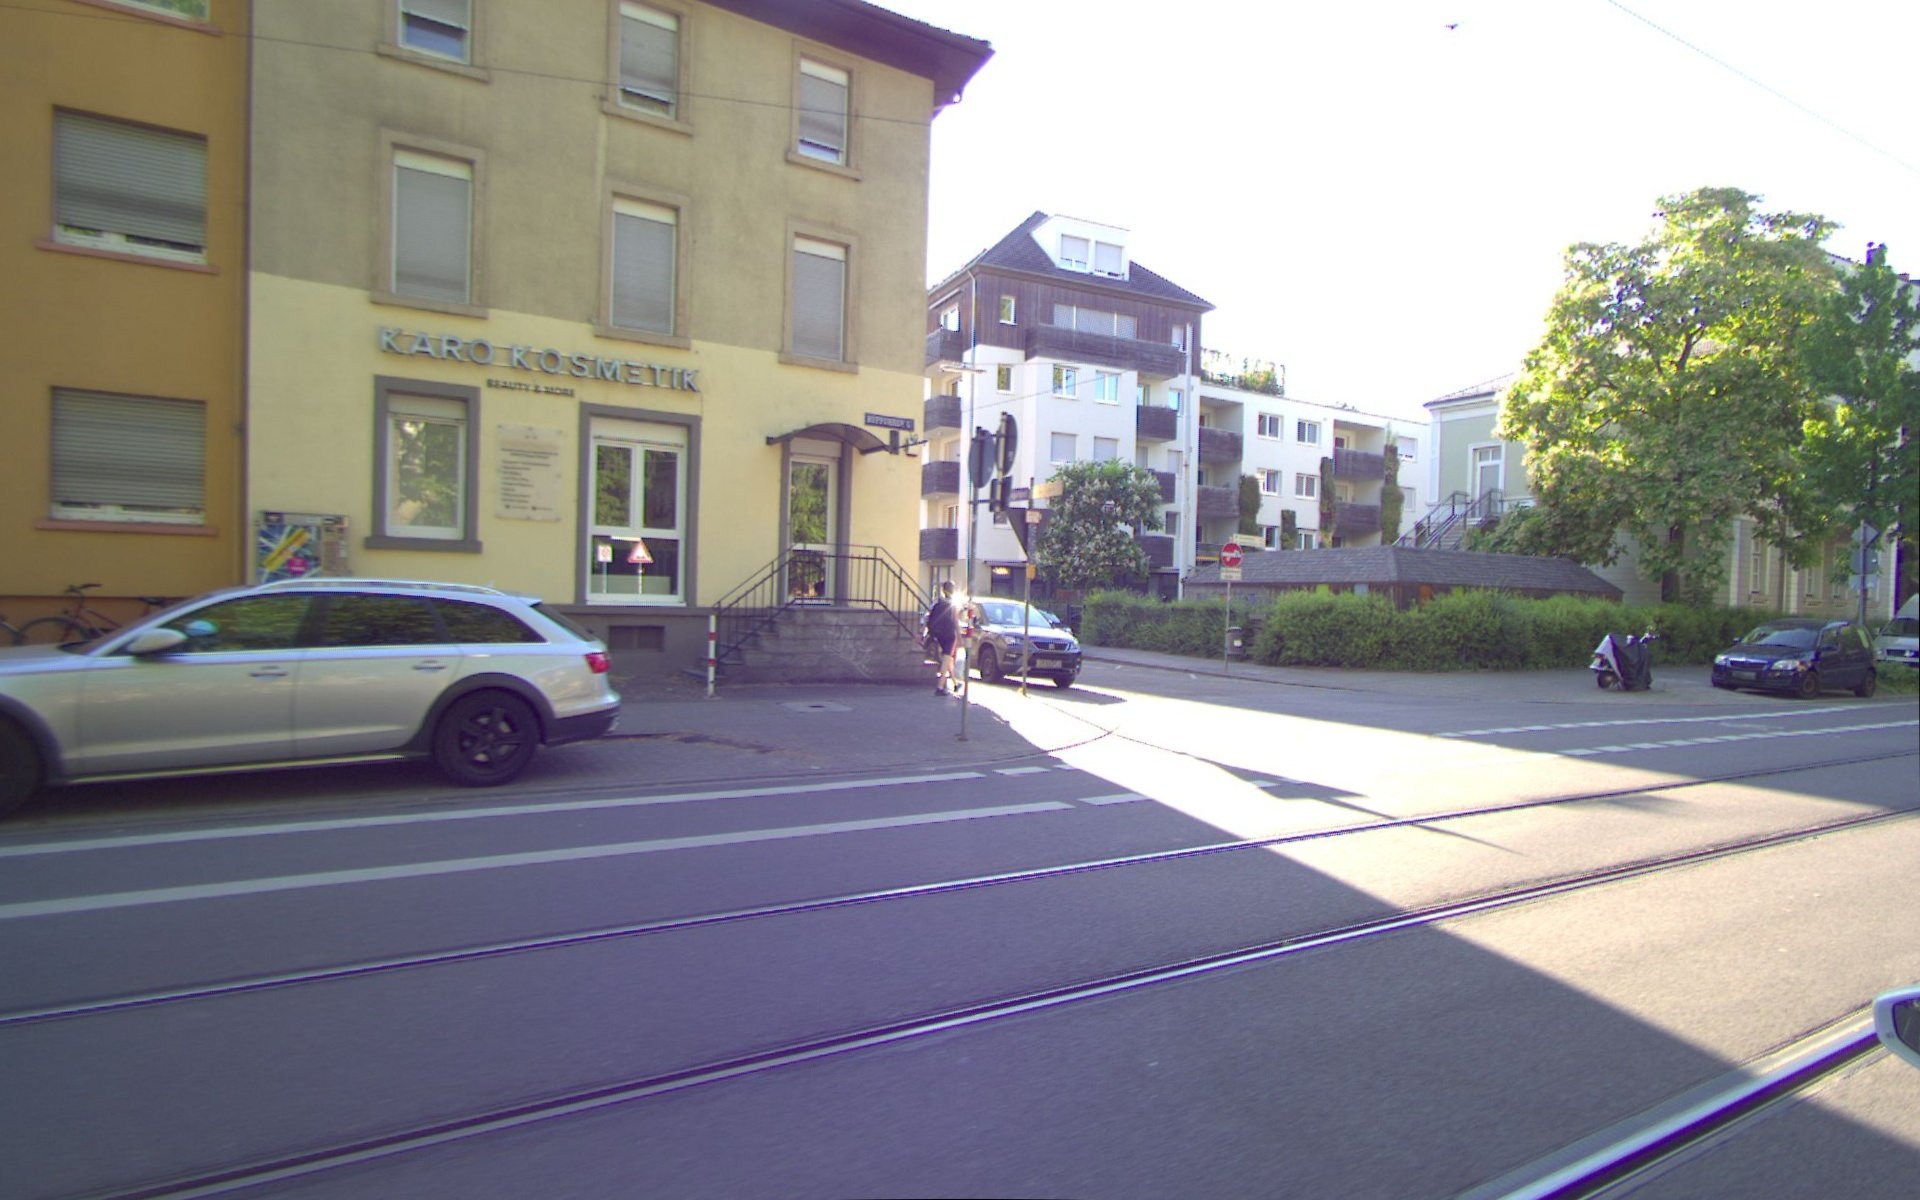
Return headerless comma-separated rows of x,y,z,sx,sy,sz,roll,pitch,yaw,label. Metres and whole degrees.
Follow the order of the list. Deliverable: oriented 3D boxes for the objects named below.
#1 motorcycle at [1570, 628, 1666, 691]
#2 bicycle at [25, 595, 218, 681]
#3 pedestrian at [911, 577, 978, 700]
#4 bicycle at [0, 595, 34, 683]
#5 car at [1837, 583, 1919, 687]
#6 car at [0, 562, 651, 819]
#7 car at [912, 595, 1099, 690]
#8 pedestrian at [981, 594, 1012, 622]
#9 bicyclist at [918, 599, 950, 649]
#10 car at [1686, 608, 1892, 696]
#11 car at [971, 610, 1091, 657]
13.553,1.201,20.687,2.123,1.155,0.670,-1,4,-28,motorcycle
-9.521,0.429,11.469,1.628,0.941,0.360,1,0,-30,bicycle
-0.199,0.532,14.072,0.738,1.607,0.776,4,-1,6,pedestrian
-10.959,0.410,10.639,1.628,0.941,0.360,1,0,-30,bicycle
25.510,0.902,26.371,5.284,2.542,2.291,1,0,-32,car
-5.005,0.548,7.452,4.889,1.512,1.760,1,1,-33,car
0.754,0.745,19.594,1.940,1.639,4.048,1,0,-26,car
1.457,0.323,40.704,0.493,1.122,1.789,1,0,-24,pedestrian
-0.782,0.710,30.110,0.639,1.453,0.800,1,0,-27,bicyclist
17.968,1.080,21.751,4.208,1.713,1.984,1,0,-28,car
2.066,0.975,30.464,1.857,1.270,4.047,1,0,-26,car
